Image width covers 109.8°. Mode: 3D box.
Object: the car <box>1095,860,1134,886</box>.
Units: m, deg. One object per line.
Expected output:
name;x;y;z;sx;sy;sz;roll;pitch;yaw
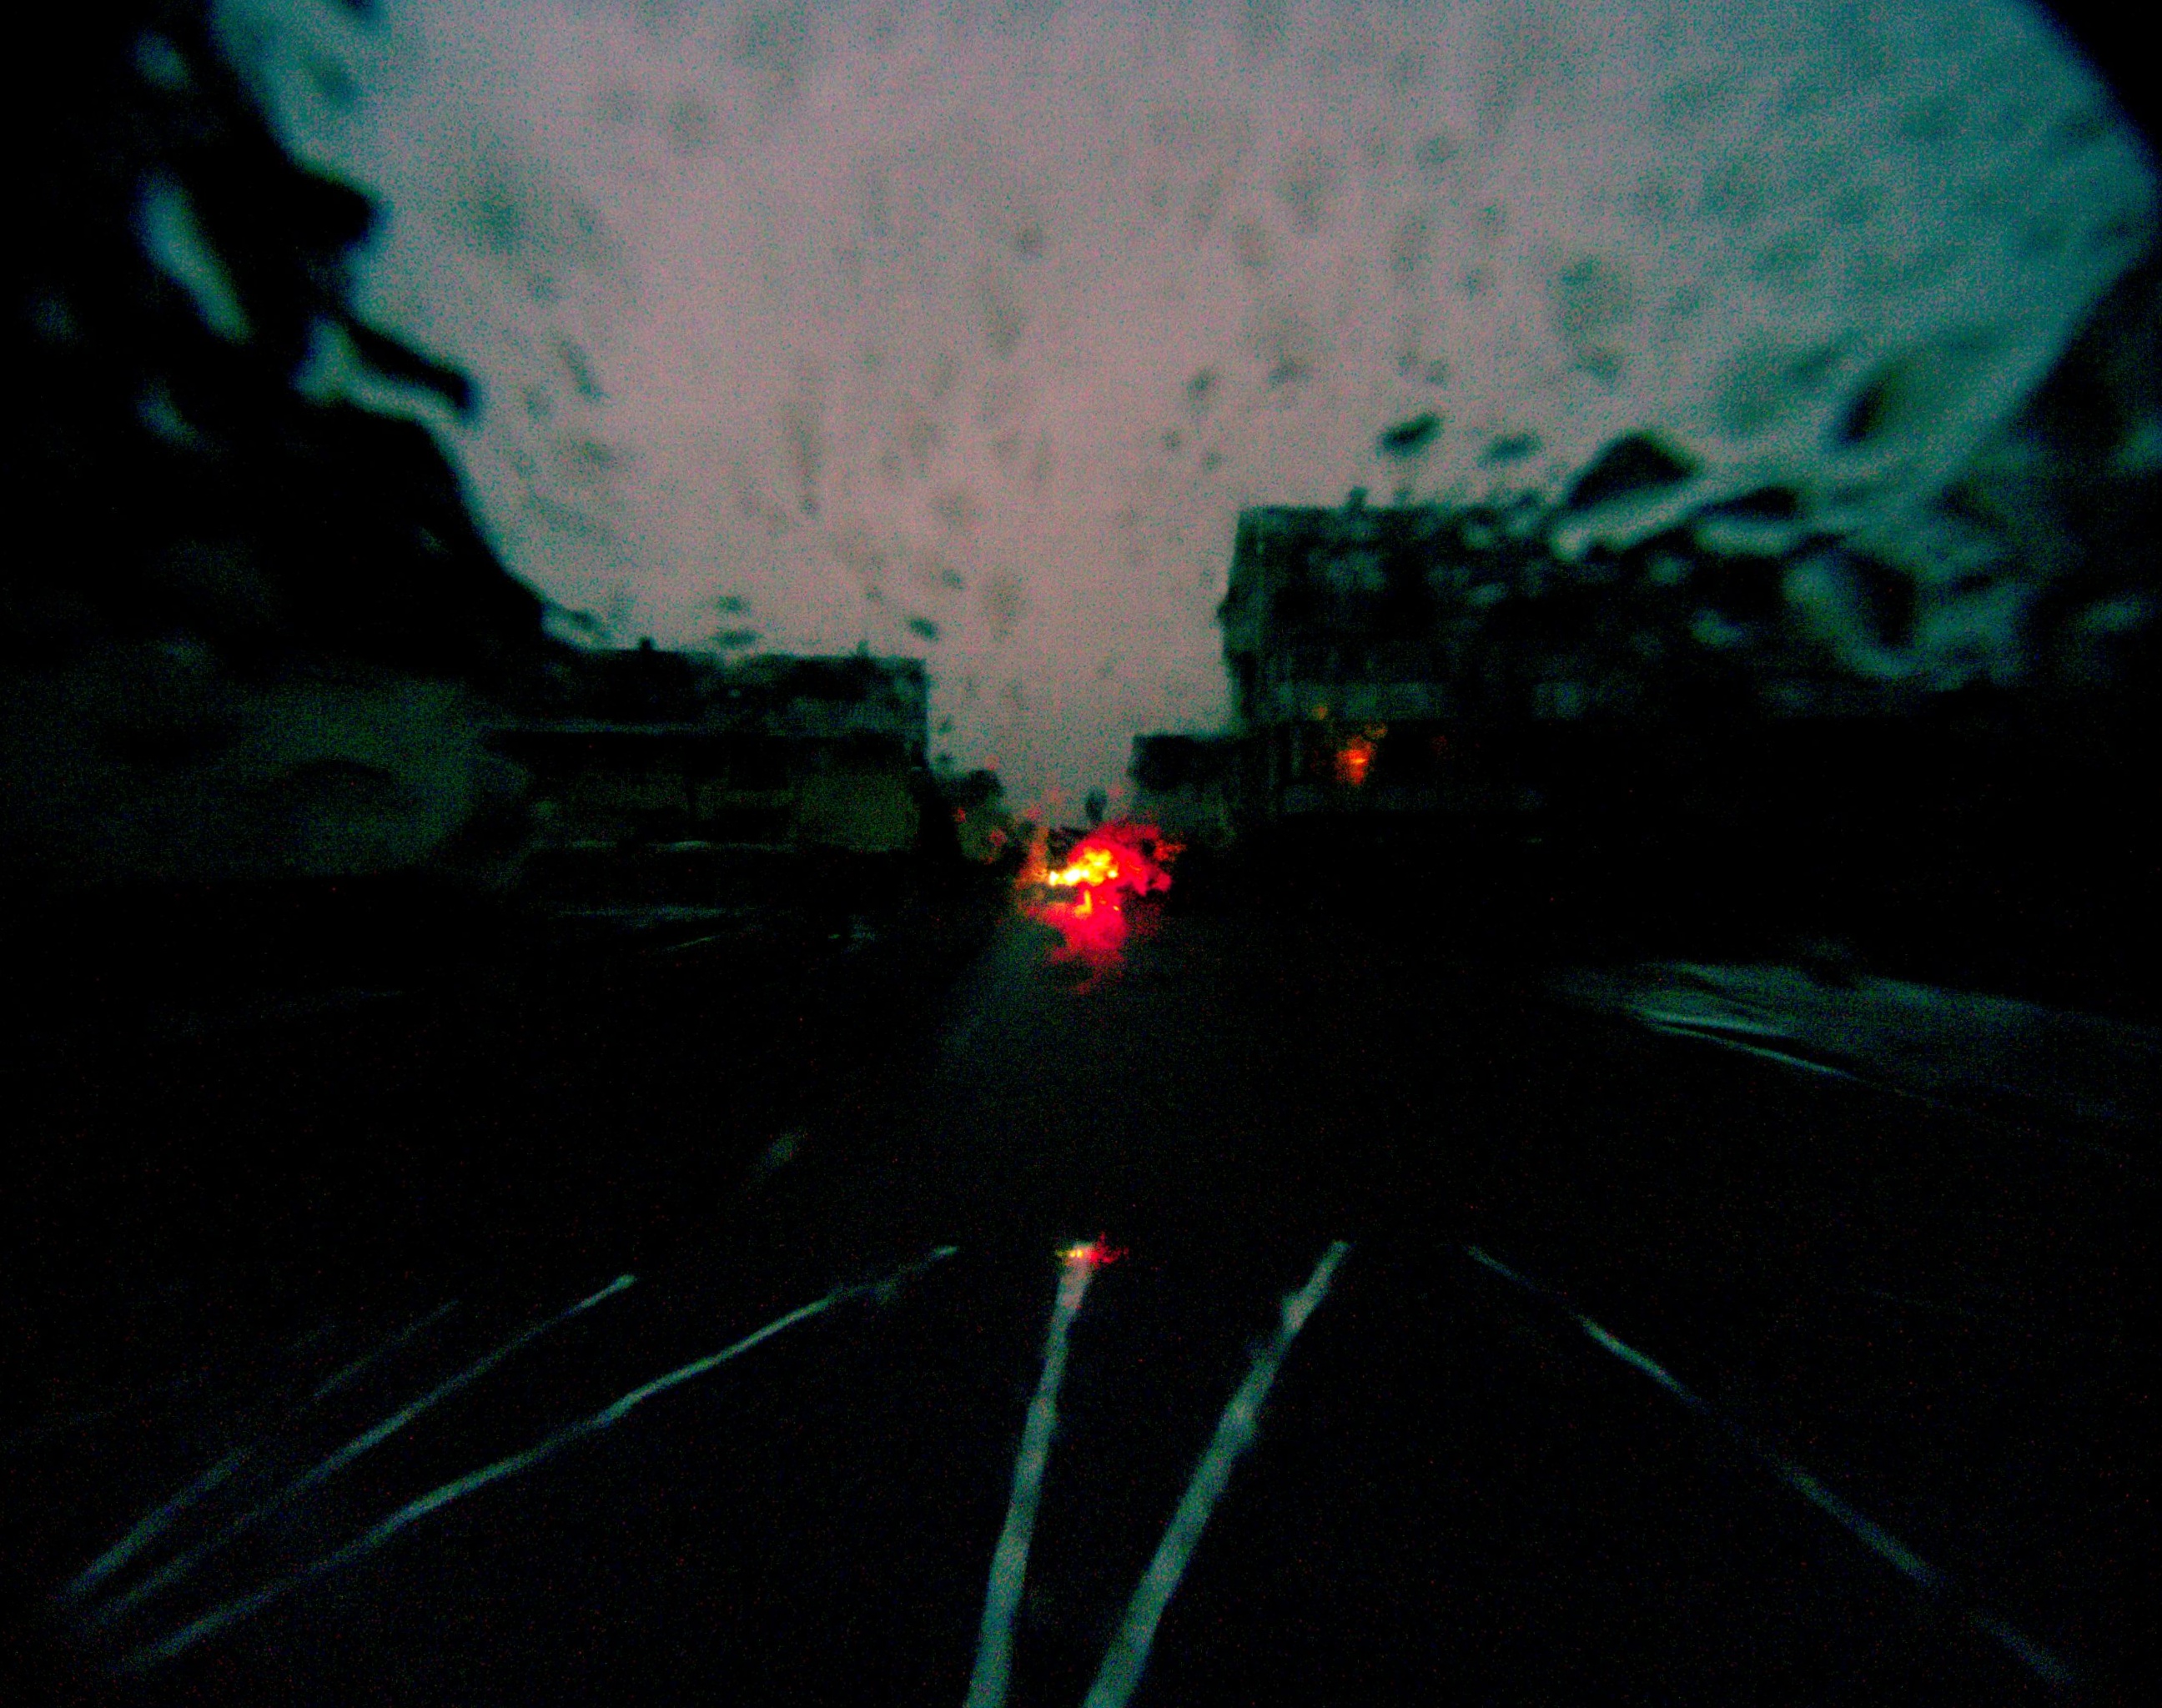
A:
car;1.927;1.114;44.480;1.739;1.435;4.438;0;-1;-5

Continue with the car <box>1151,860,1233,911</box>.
car;3.297;0.916;23.254;1.672;1.401;3.913;0;-1;-4

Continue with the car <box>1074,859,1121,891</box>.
car;0.770;1.044;38.069;1.779;1.486;4.378;1;-1;-6

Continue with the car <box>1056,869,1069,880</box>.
car;-2.579;2.823;106.612;1.756;1.486;4.251;1;-1;1

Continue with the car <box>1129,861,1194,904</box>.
car;2.828;0.965;27.483;1.669;1.409;3.689;-2;0;-4
